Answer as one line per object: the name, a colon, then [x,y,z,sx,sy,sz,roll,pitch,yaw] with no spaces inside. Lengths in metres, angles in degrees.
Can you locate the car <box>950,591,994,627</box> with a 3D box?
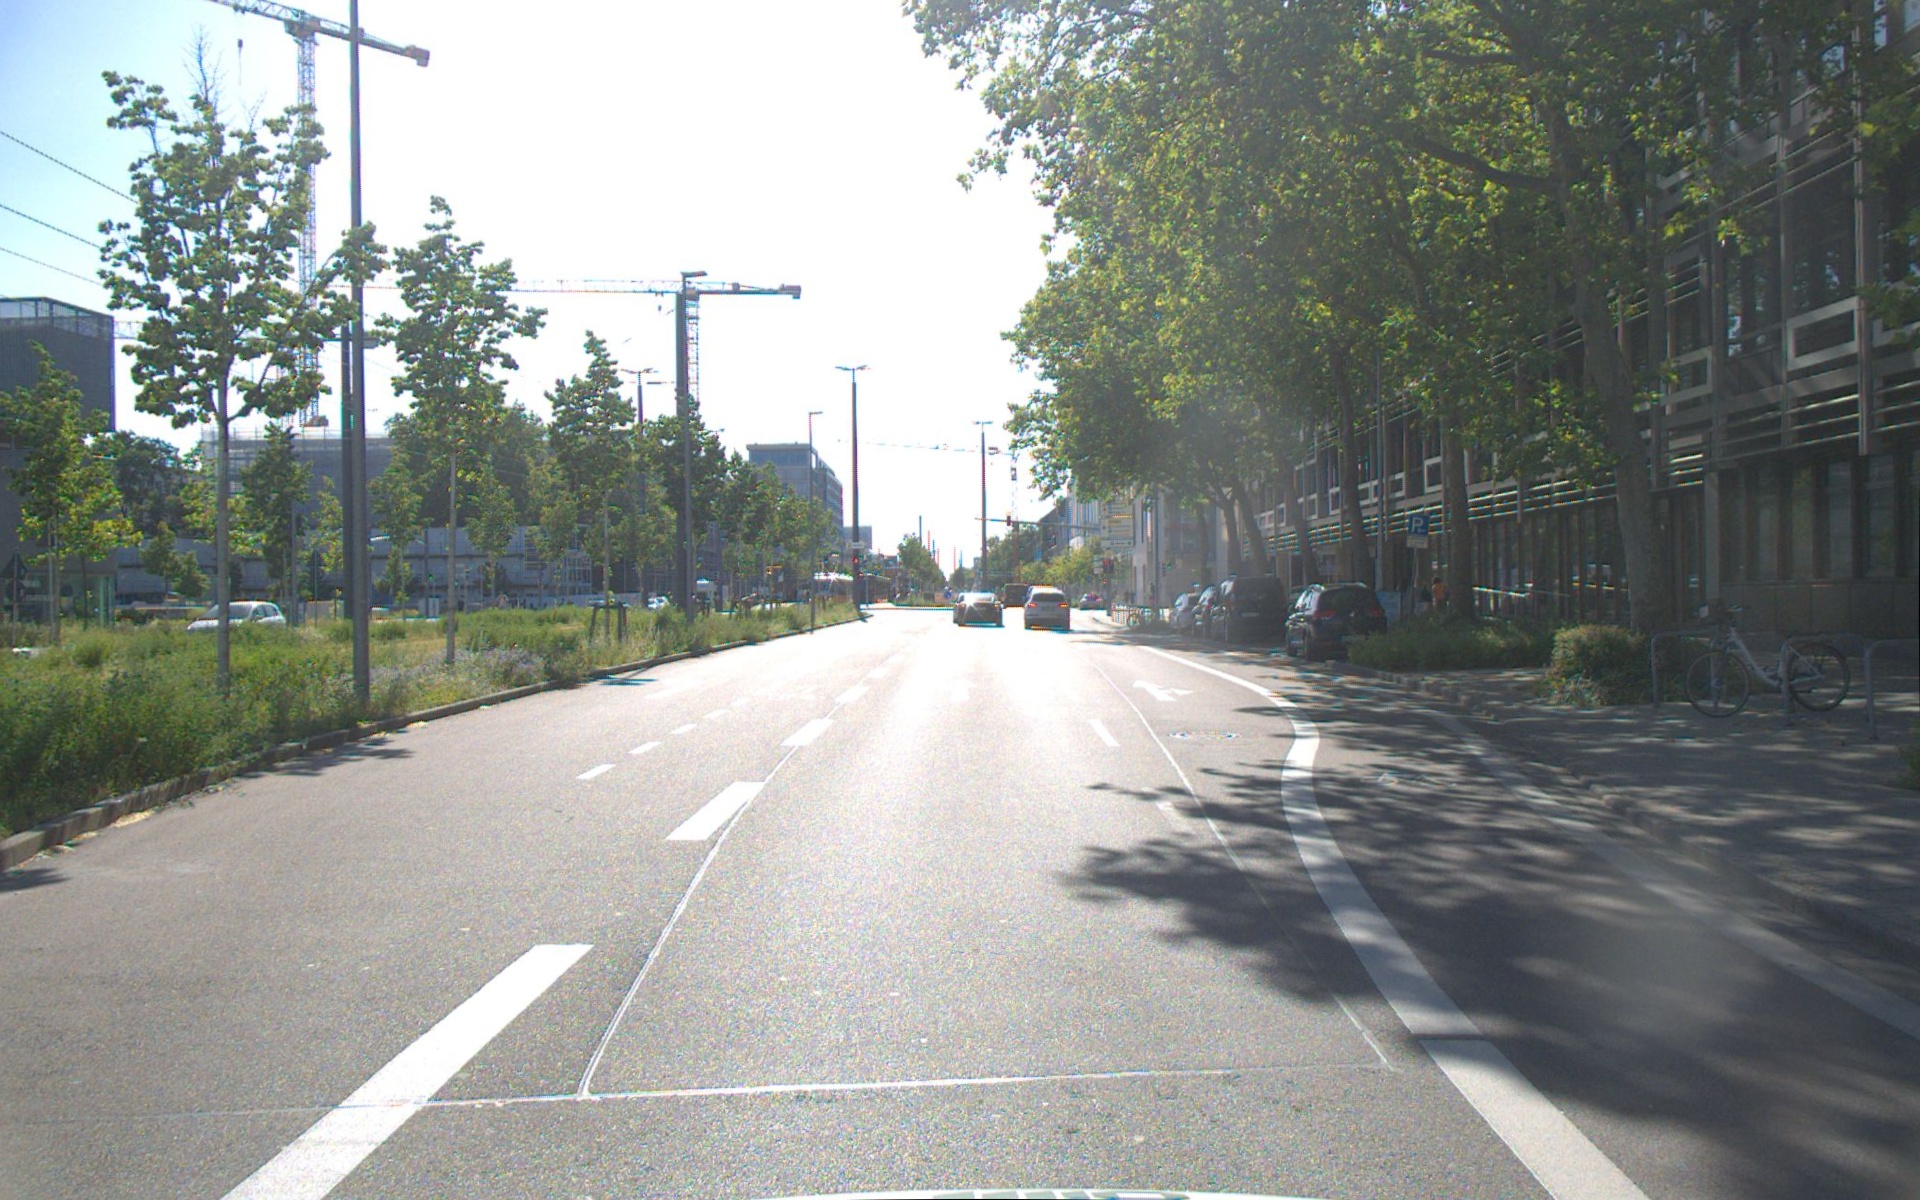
car: [0.517,0.358,72.585,1.873,1.512,4.009,0,0,0]

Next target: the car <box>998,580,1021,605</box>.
car: [4.330,-0.638,144.378,1.952,2.049,4.000,1,-1,1]

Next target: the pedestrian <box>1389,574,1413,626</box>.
pedestrian: [13.671,0.003,51.313,0.496,1.612,0.634,0,0,-8]

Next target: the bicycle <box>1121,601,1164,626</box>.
bicycle: [7.561,0.548,68.482,1.660,0.974,0.478,-2,0,-4]

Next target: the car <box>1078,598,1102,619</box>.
car: [10.880,0.723,138.376,1.628,1.678,3.700,1,-1,-1]

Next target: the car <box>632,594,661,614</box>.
car: [-27.455,0.376,144.953,1.799,1.641,3.895,1,-1,0]

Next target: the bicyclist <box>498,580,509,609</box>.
bicyclist: [-24.242,-0.292,87.780,0.386,1.480,0.539,1,0,0]

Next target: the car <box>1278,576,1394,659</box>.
car: [8.115,0.334,36.039,1.668,1.672,4.638,0,0,3]

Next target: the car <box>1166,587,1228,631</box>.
car: [8.552,0.281,60.010,1.669,1.519,4.601,0,0,1]

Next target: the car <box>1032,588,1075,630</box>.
car: [3.828,0.340,68.101,1.685,1.646,4.188,0,0,2]

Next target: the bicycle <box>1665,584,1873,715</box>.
bicycle: [8.659,0.513,17.734,1.898,1.258,0.579,-4,0,-2]

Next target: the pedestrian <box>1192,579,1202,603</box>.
pedestrian: [14.767,-0.563,103.141,0.550,1.466,0.632,1,-1,8]

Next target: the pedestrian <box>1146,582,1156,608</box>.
pedestrian: [11.130,-0.303,96.387,0.550,1.466,0.632,1,-1,8]

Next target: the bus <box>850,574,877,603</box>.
bus: [-10.522,-1.213,181.162,2.574,3.011,9.895,1,-1,-2]

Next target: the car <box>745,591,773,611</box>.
car: [-12.597,0.062,103.798,1.348,1.199,3.220,1,-1,0]

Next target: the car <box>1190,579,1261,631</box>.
car: [8.459,0.161,53.041,1.669,1.591,4.192,0,0,1]

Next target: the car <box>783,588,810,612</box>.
car: [-13.034,-0.016,132.266,1.858,1.847,3.998,1,-1,-2]

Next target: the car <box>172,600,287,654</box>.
car: [-20.700,0.728,47.039,1.599,1.422,3.832,0,0,-1]

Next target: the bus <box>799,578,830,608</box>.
bus: [-14.453,-0.665,164.796,2.574,2.832,8.841,1,-1,-2]

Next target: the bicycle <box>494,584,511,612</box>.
bicycle: [-24.273,-0.111,87.728,0.353,1.481,1.914,0,1,1]

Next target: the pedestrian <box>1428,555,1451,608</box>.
pedestrian: [14.876,-0.568,51.356,0.542,1.631,0.573,0,0,1]

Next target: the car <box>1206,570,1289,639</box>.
car: [8.229,0.098,47.696,1.669,1.821,4.193,-3,0,1]

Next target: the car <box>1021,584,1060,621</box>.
car: [4.014,0.102,82.773,1.686,1.814,4.186,0,0,-1]

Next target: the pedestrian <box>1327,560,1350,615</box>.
pedestrian: [13.564,-0.461,59.330,0.663,1.950,0.557,1,-1,1]

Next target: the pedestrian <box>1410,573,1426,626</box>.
pedestrian: [14.221,-0.014,51.339,0.309,1.612,0.501,0,0,-8]
